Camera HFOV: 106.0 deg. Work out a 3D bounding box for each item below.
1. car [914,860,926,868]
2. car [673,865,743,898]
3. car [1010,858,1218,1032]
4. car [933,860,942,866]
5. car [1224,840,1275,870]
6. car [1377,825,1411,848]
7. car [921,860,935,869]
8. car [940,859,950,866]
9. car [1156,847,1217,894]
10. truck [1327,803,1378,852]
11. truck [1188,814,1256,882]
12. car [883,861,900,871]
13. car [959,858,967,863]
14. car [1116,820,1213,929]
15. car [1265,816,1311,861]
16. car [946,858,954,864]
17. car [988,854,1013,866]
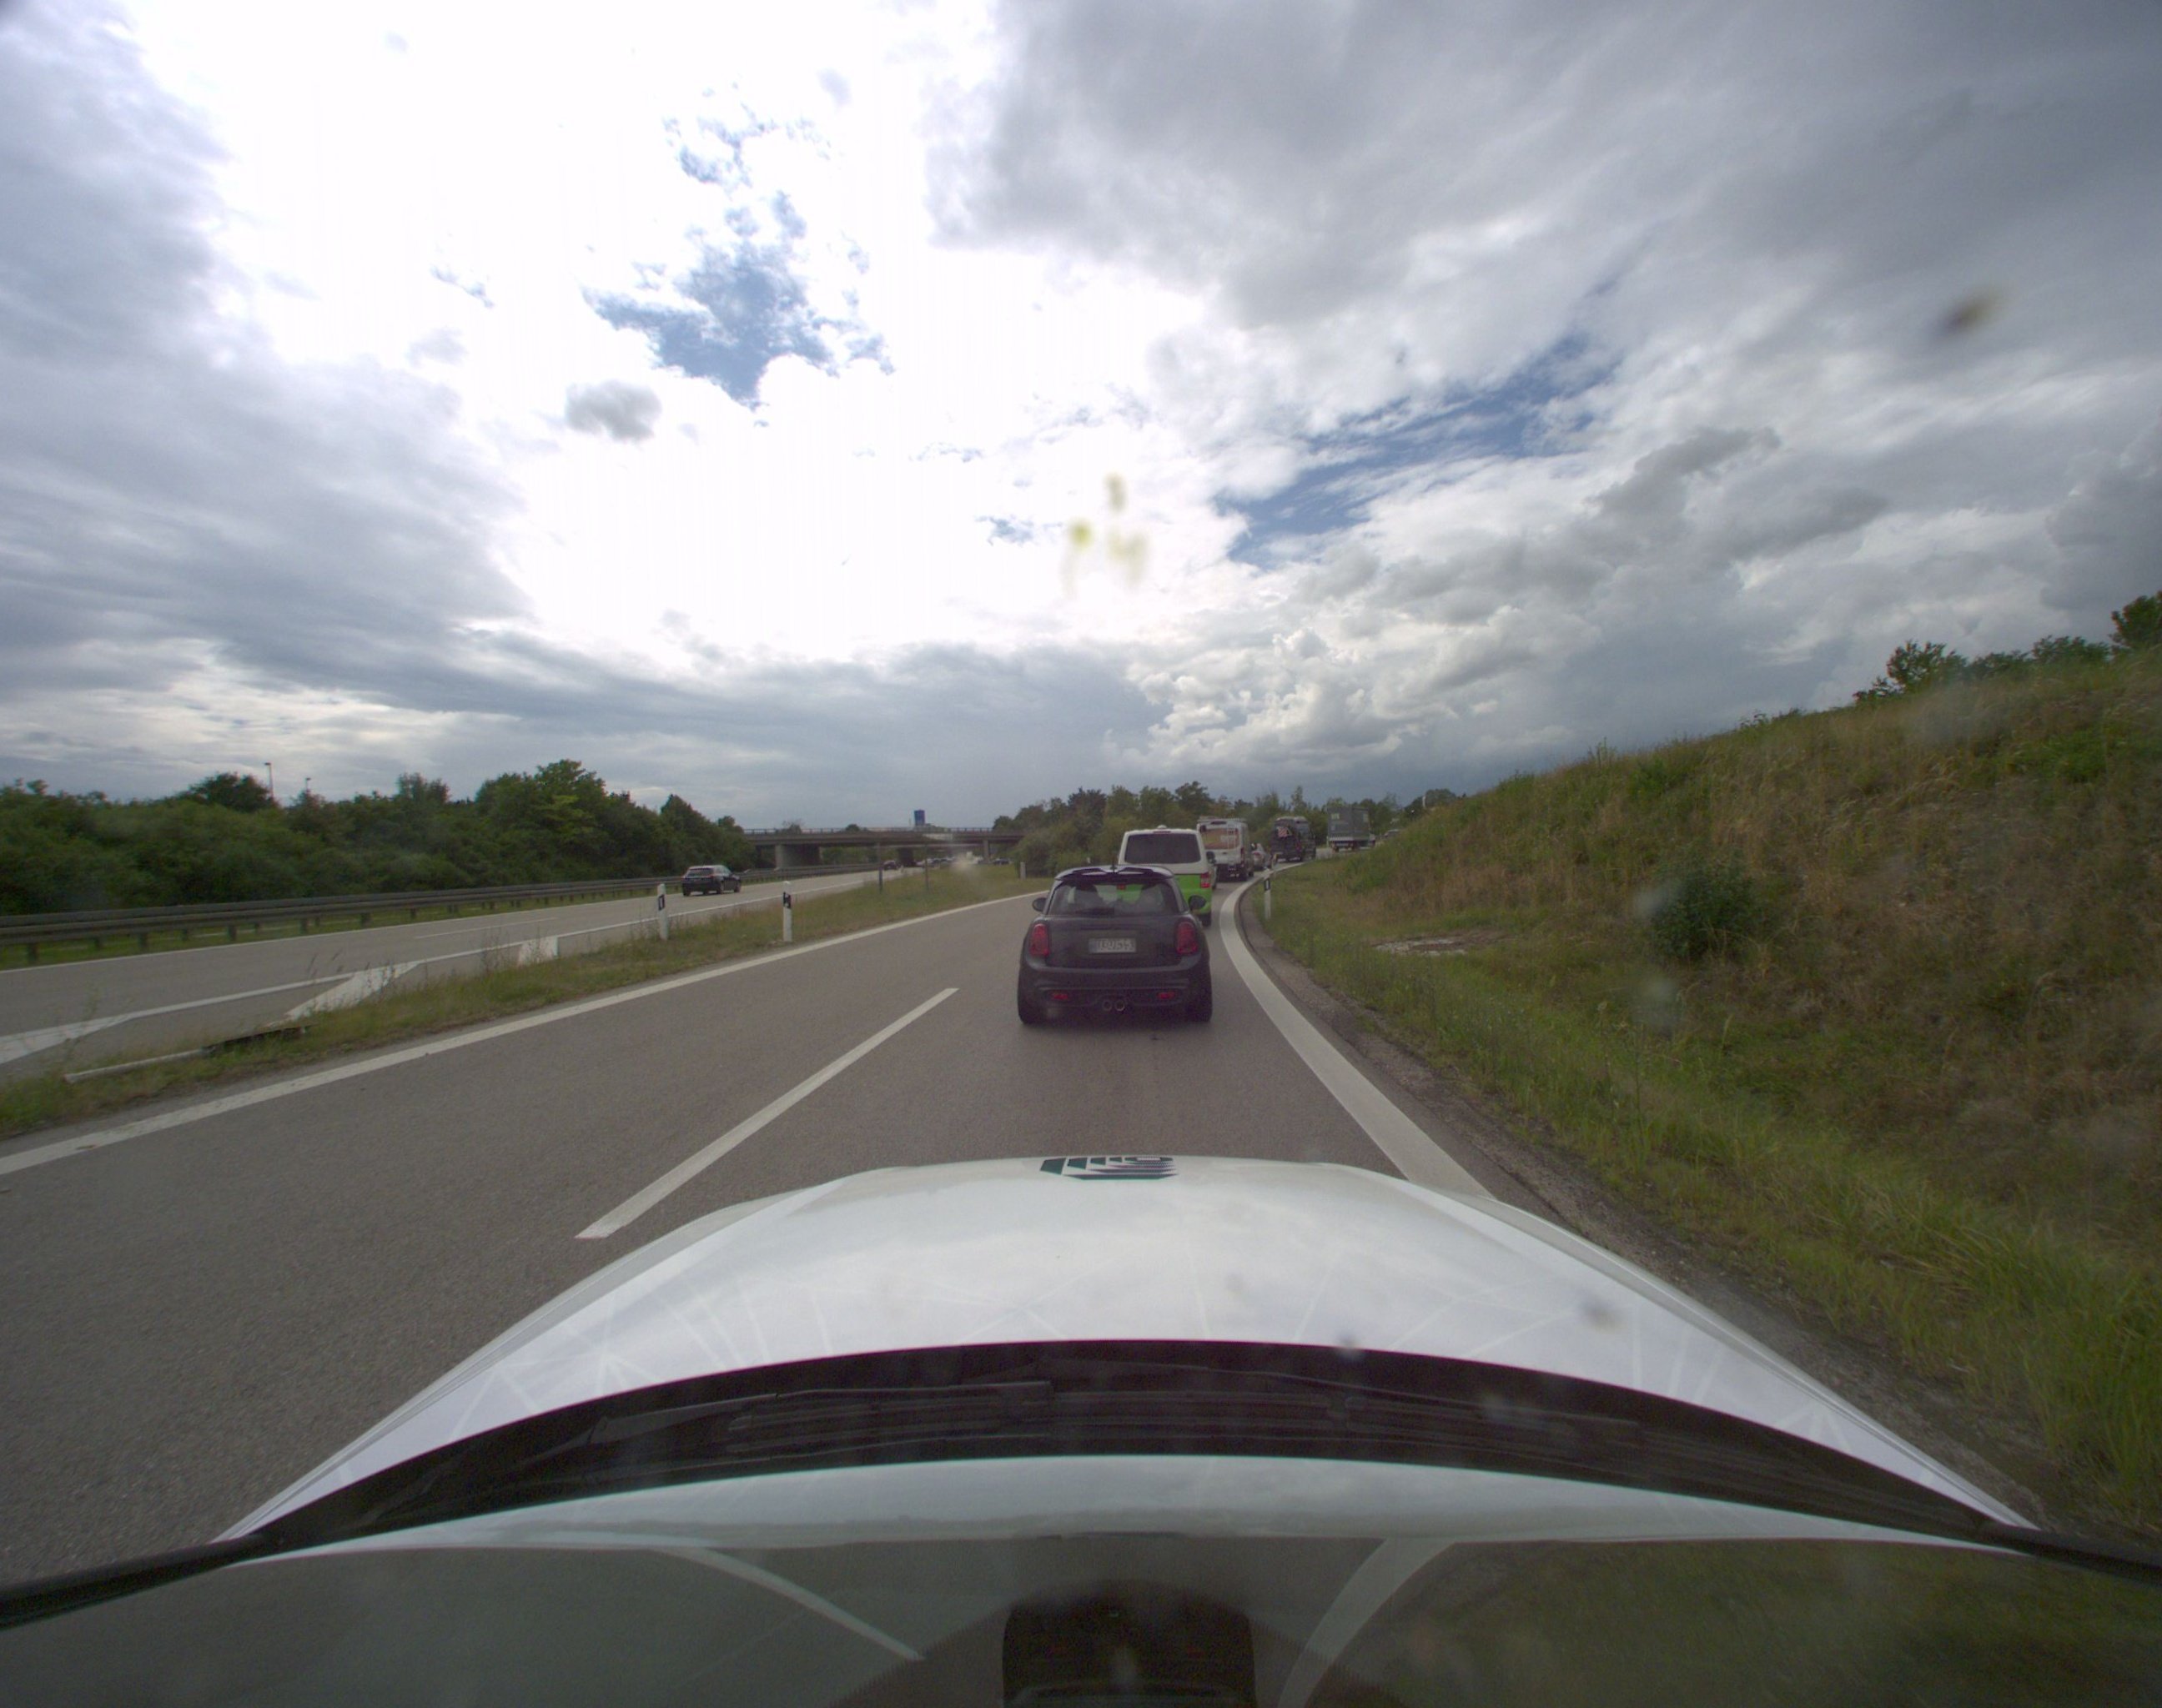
[{"bbox_3d":[-30.569,1.917,154.790,1.778,1.399,4.295,-2,0,-7],"label":"car"},{"bbox_3d":[-18.771,1.344,41.196,1.720,1.424,4.787,-2,0,-6],"label":"car"},{"bbox_3d":[0.347,0.773,8.710,1.720,1.413,3.727,-1,0,2],"label":"car"},{"bbox_3d":[-34.384,2.076,195.181,1.779,1.399,4.294,-2,0,-8],"label":"car"},{"bbox_3d":[9.063,0.026,43.552,1.849,1.510,4.023,-2,0,24],"label":"car"},{"bbox_3d":[29.815,-1.639,77.502,1.974,2.014,4.025,-1,-1,36],"label":"car"},{"bbox_3d":[-24.695,1.715,131.487,1.777,1.399,4.542,-2,0,-5],"label":"car"},{"bbox_3d":[-28.430,1.861,170.392,1.776,1.399,4.023,-2,0,-4],"label":"car"},{"bbox_3d":[3.586,0.509,27.159,1.751,1.399,3.736,-2,0,11],"label":"car"},{"bbox_3d":[22.794,-2.136,68.172,2.207,3.907,6.054,-1,-1,36],"label":"truck"},{"bbox_3d":[6.157,-0.279,34.953,2.161,2.658,5.132,-2,1,17],"label":"truck"},{"bbox_3d":[-27.502,1.771,118.391,1.777,1.399,4.298,-2,0,-5],"label":"car"},{"bbox_3d":[-37.468,2.124,259.122,2.092,1.670,4.300,-2,0,-4],"label":"car"},{"bbox_3d":[1.879,0.385,17.263,1.773,2.013,4.010,-1,0,9],"label":"car"},{"bbox_3d":[13.378,-0.982,52.553,2.085,2.796,4.024,-1,0,26],"label":"car"},{"bbox_3d":[-41.688,2.239,259.150,2.156,1.670,4.300,-2,0,-4],"label":"car"},{"bbox_3d":[-13.509,1.050,136.642,3.949,2.014,2.012,-1,-1,42],"label":"car"}]
